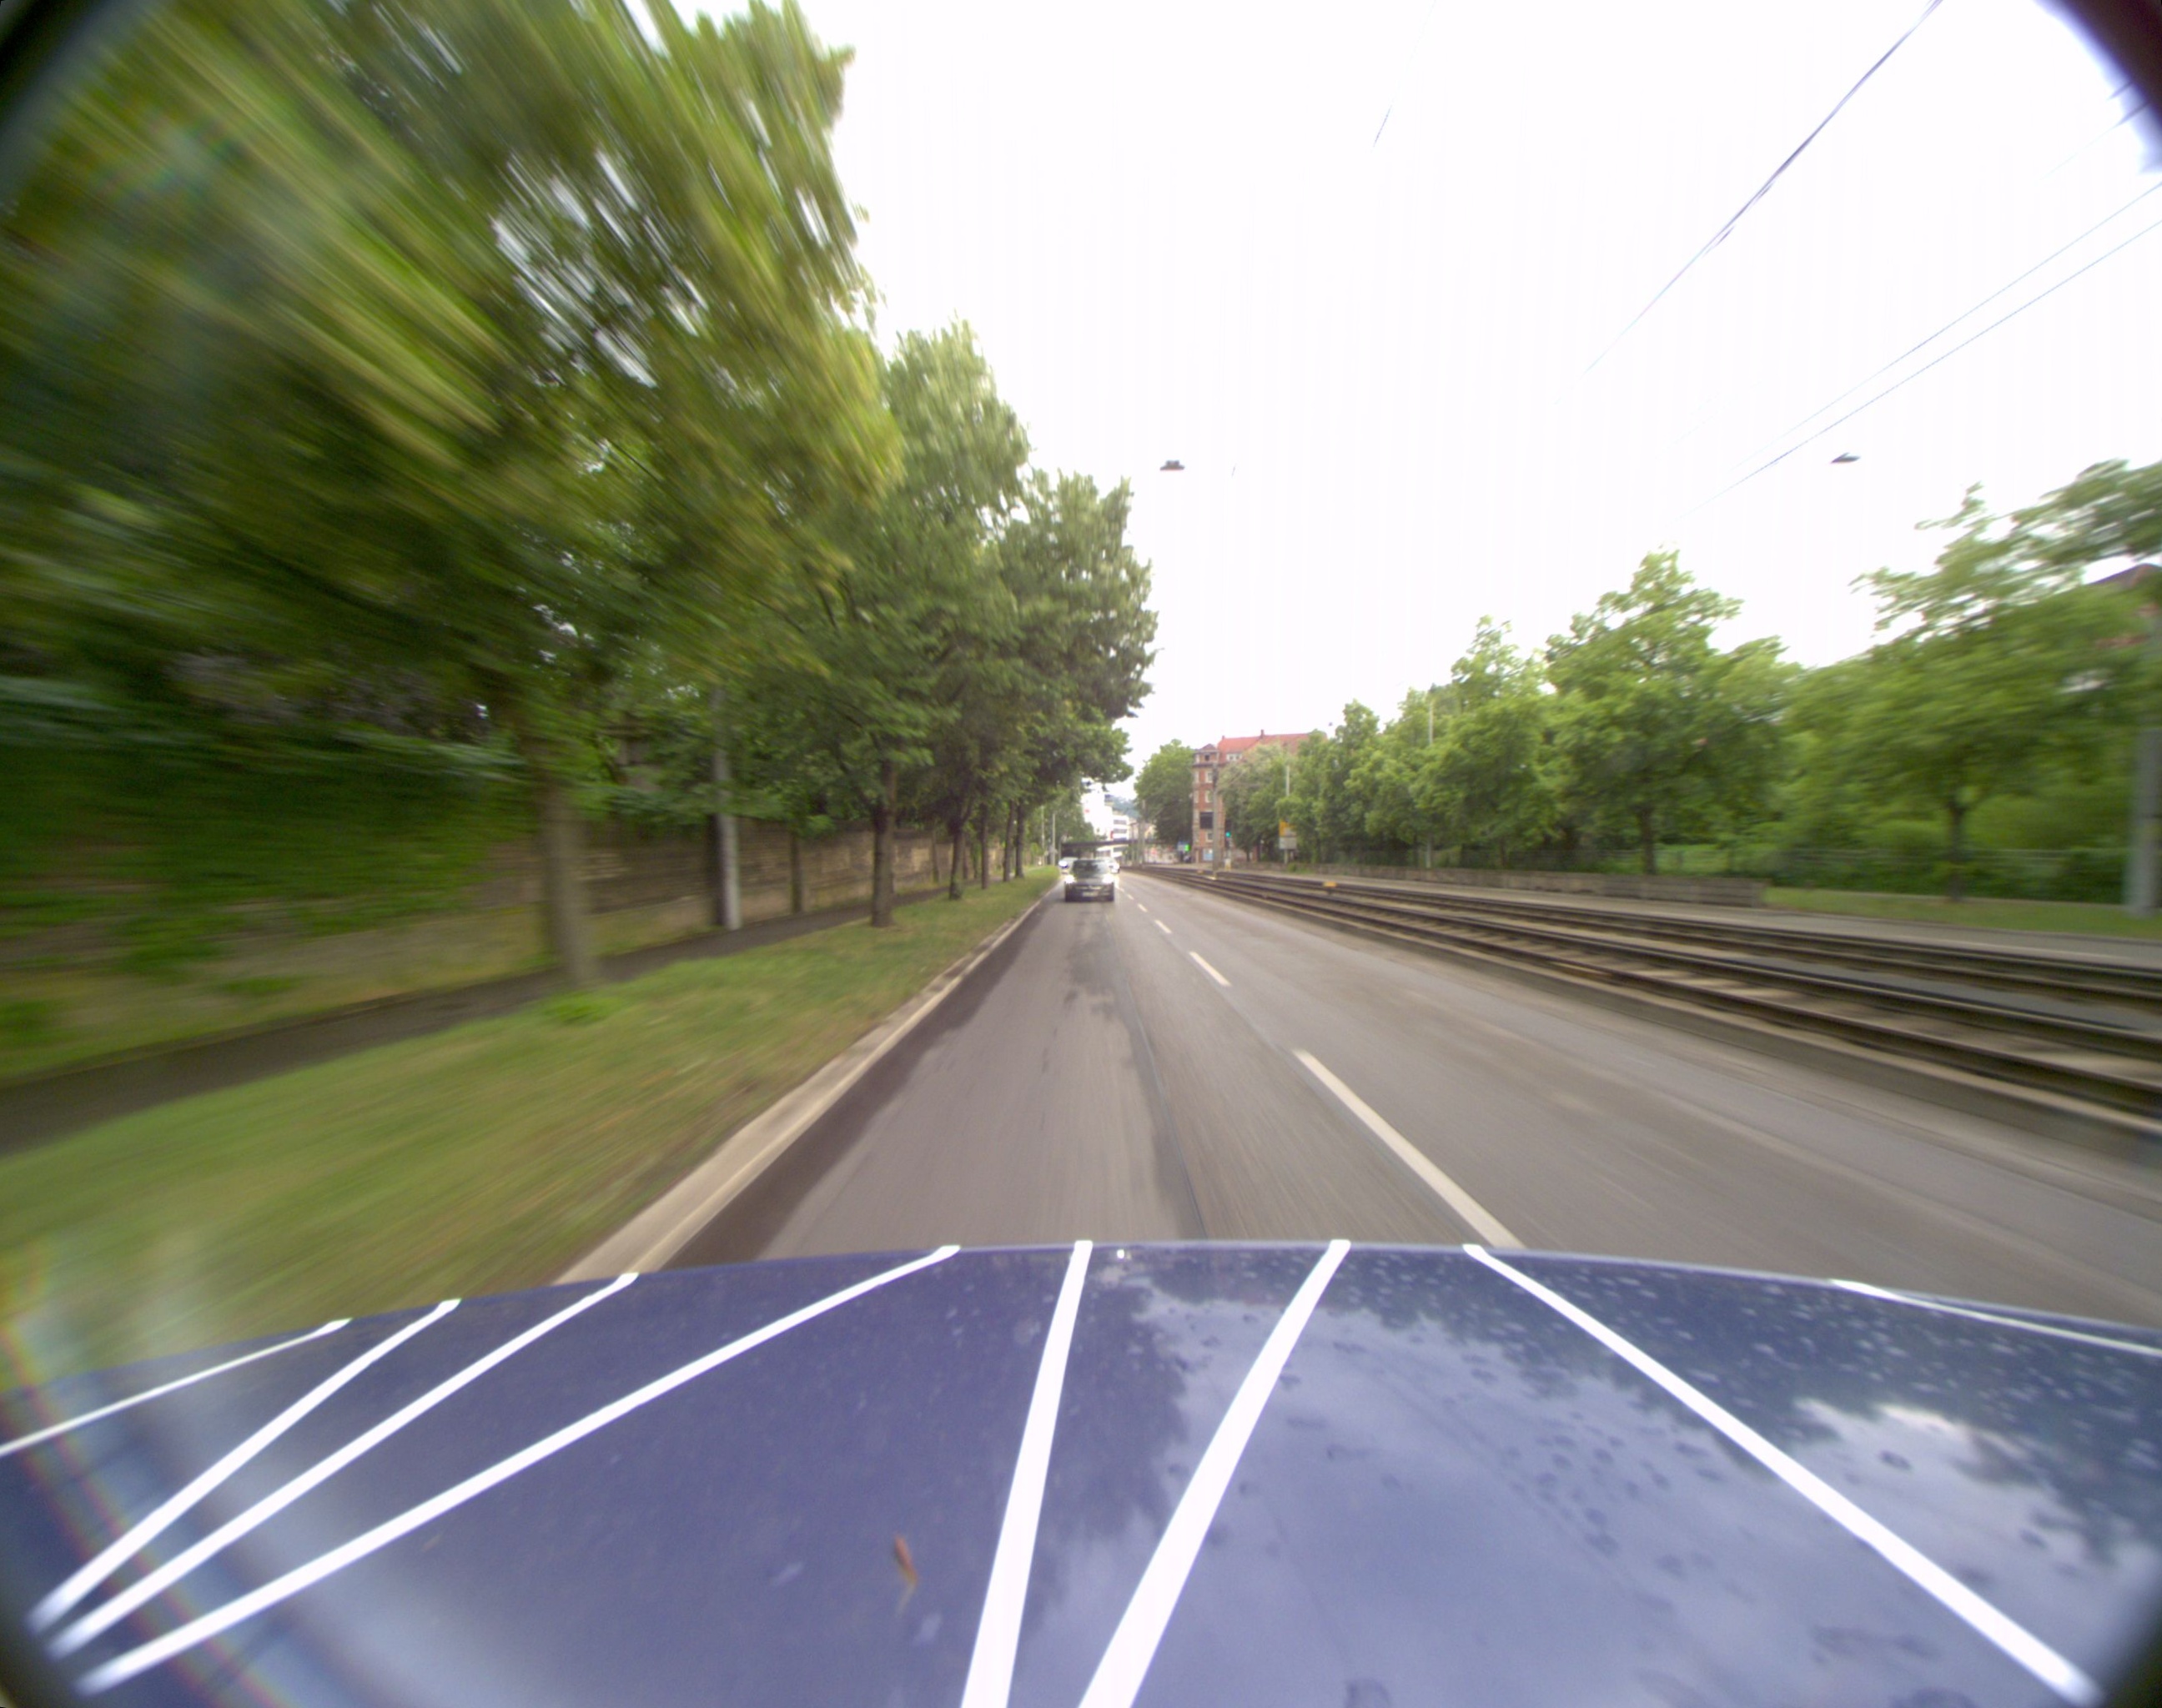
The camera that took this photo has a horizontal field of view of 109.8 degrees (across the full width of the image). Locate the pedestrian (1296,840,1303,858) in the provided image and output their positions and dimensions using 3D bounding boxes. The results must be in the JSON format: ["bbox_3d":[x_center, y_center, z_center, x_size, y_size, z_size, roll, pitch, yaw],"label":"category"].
[{"bbox_3d":[24.358,-0.567,84.694,0.597,1.892,0.654,-2,1,-3],"label":"pedestrian"}]

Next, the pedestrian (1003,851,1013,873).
[{"bbox_3d":[-5.737,0.629,59.709,0.710,1.769,0.900,-1,0,-2],"label":"pedestrian"}]

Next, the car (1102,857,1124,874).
[{"bbox_3d":[2.929,1.051,69.909,1.806,1.483,4.102,0,0,0],"label":"car"}]

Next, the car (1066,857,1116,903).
[{"bbox_3d":[0.335,0.868,27.085,1.658,1.483,3.829,0,0,0],"label":"car"}]

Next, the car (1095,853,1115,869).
[{"bbox_3d":[2.523,0.740,81.335,1.807,1.484,4.100,-3,2,-2],"label":"car"}]

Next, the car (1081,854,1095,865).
[{"bbox_3d":[1.180,0.940,128.855,2.000,1.801,3.997,-2,0,-6],"label":"car"}]

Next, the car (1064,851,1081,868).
[{"bbox_3d":[-1.013,0.690,96.928,1.998,2.002,4.000,-2,0,1],"label":"car"}]
